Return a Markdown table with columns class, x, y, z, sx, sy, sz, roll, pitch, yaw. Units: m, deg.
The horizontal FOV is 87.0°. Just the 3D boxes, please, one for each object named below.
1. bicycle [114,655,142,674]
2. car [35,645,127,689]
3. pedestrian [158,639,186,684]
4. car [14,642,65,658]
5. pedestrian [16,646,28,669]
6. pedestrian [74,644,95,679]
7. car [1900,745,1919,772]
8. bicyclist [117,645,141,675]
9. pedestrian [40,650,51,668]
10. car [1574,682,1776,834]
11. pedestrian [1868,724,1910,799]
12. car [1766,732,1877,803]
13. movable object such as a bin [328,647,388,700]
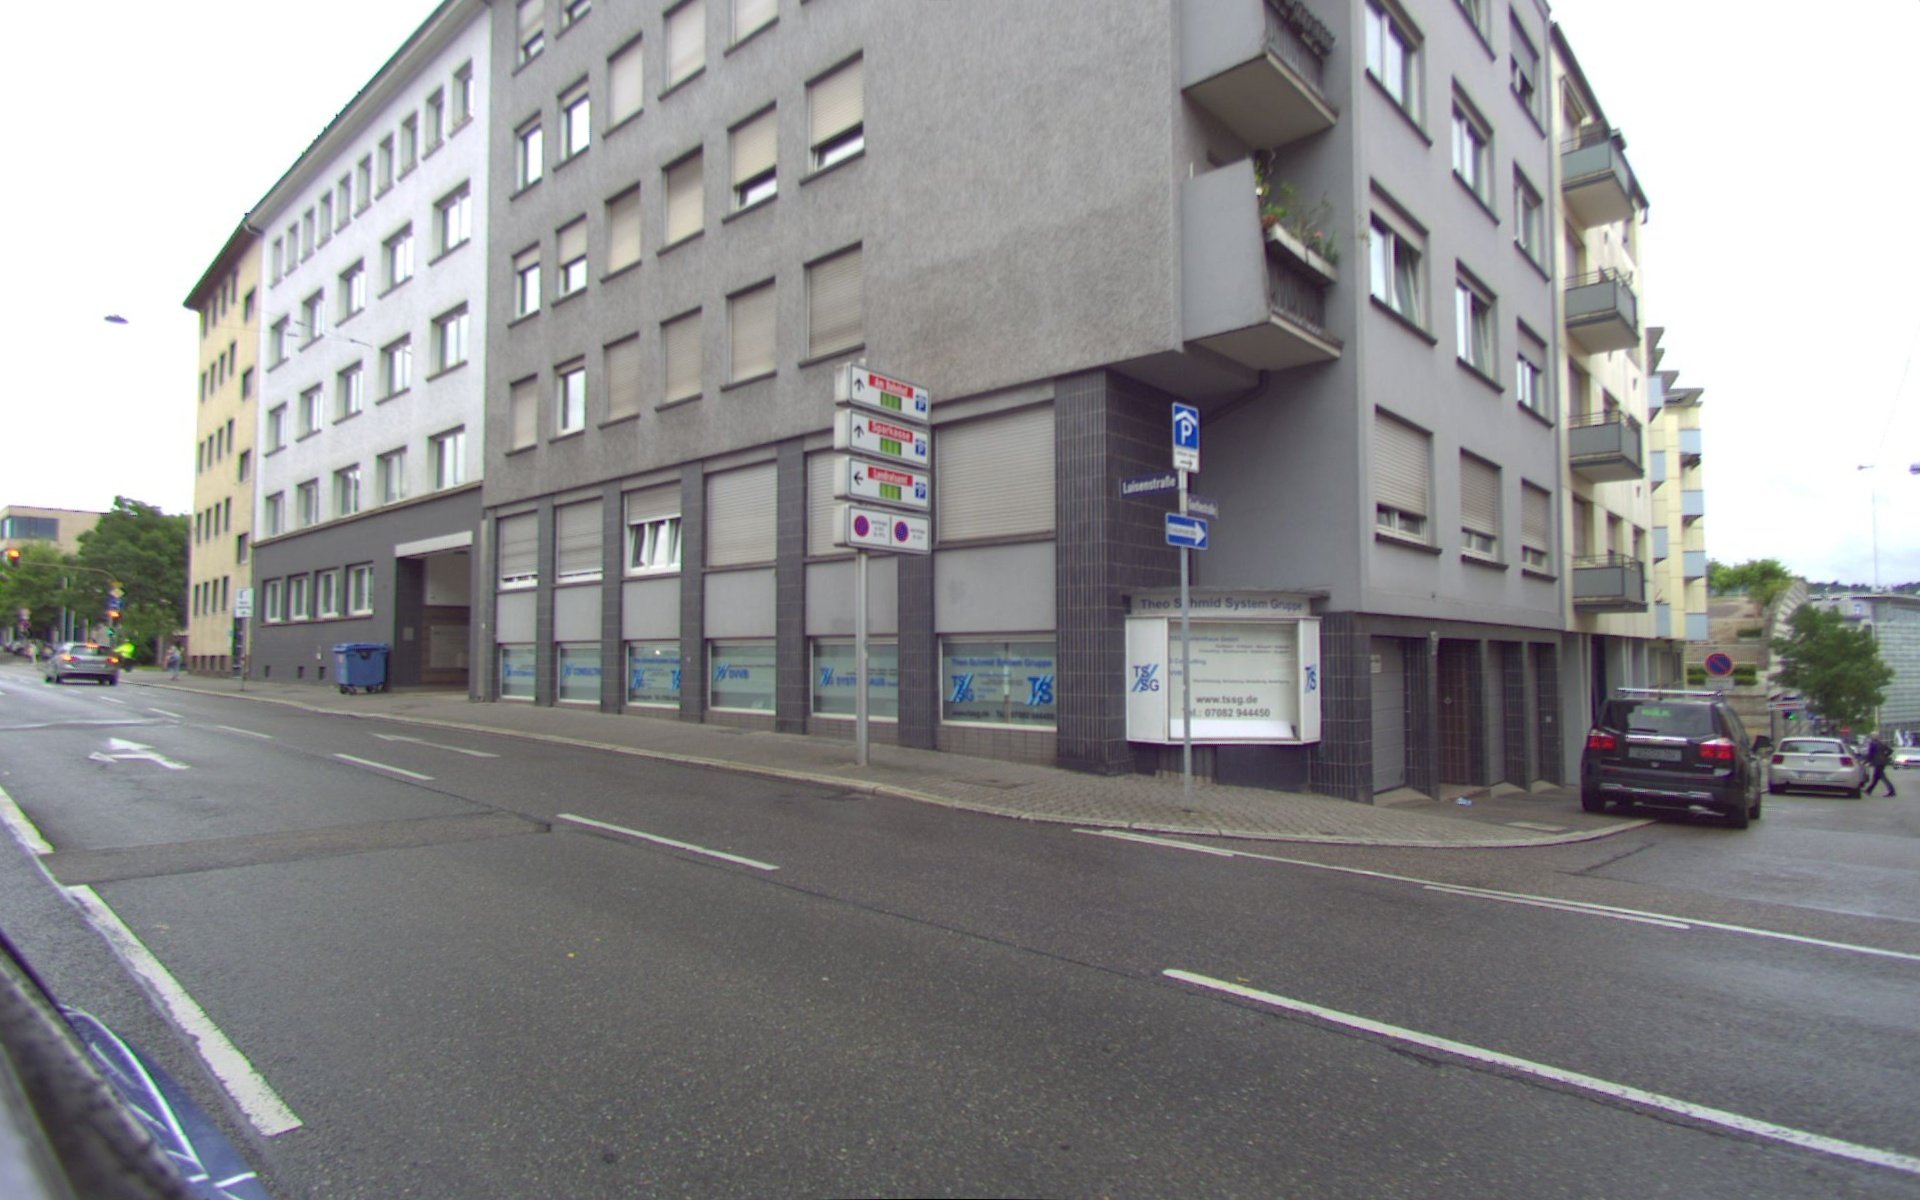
| class | x | y | z | sx | sy | sz | roll | pitch | yaw |
| --- | --- | --- | --- | --- | --- | --- | --- | --- | --- |
| bicycle | -41.316 | 3.202 | 50.245 | 1.867 | 0.914 | 0.875 | -3 | -2 | 44 |
| car | -31.500 | 2.399 | 36.227 | 4.293 | 1.427 | 1.807 | -3 | -7 | 41 |
| pedestrian | -30.084 | 2.334 | 38.637 | 0.811 | 1.702 | 0.709 | -3 | -3 | 44 |
| car | -96.469 | 5.219 | 106.091 | 3.940 | 1.597 | 2.001 | 1 | -2 | -44 |
| pedestrian | -74.530 | 4.580 | 80.408 | 0.692 | 1.785 | 0.588 | -2 | -2 | 41 |
| pedestrian | -43.428 | 3.059 | 50.205 | 0.811 | 1.702 | 0.709 | -3 | -3 | 44 |
| car | 58.136 | 9.566 | 60.921 | 1.928 | 1.471 | 3.947 | -2 | -7 | 39 |
| bicyclist | -41.366 | 2.965 | 50.375 | 0.813 | 1.453 | 0.833 | -3 | -3 | 44 |
| pedestrian | -73.688 | 4.749 | 81.550 | 0.475 | 1.386 | 0.614 | -3 | -3 | 42 |
| car | 10.010 | 2.116 | 14.056 | 1.929 | 1.731 | 3.946 | -2 | -7 | 40 |
| pedestrian | 24.026 | 4.154 | 26.178 | 0.721 | 1.829 | 0.596 | -2 | -2 | 41 |
| car | 21.336 | 4.094 | 25.117 | 1.929 | 1.471 | 3.946 | -2 | -7 | 40 |
| movable object such as a bin | -15.976 | 1.919 | 26.859 | 1.190 | 1.334 | 1.065 | -2 | -2 | 42 |
